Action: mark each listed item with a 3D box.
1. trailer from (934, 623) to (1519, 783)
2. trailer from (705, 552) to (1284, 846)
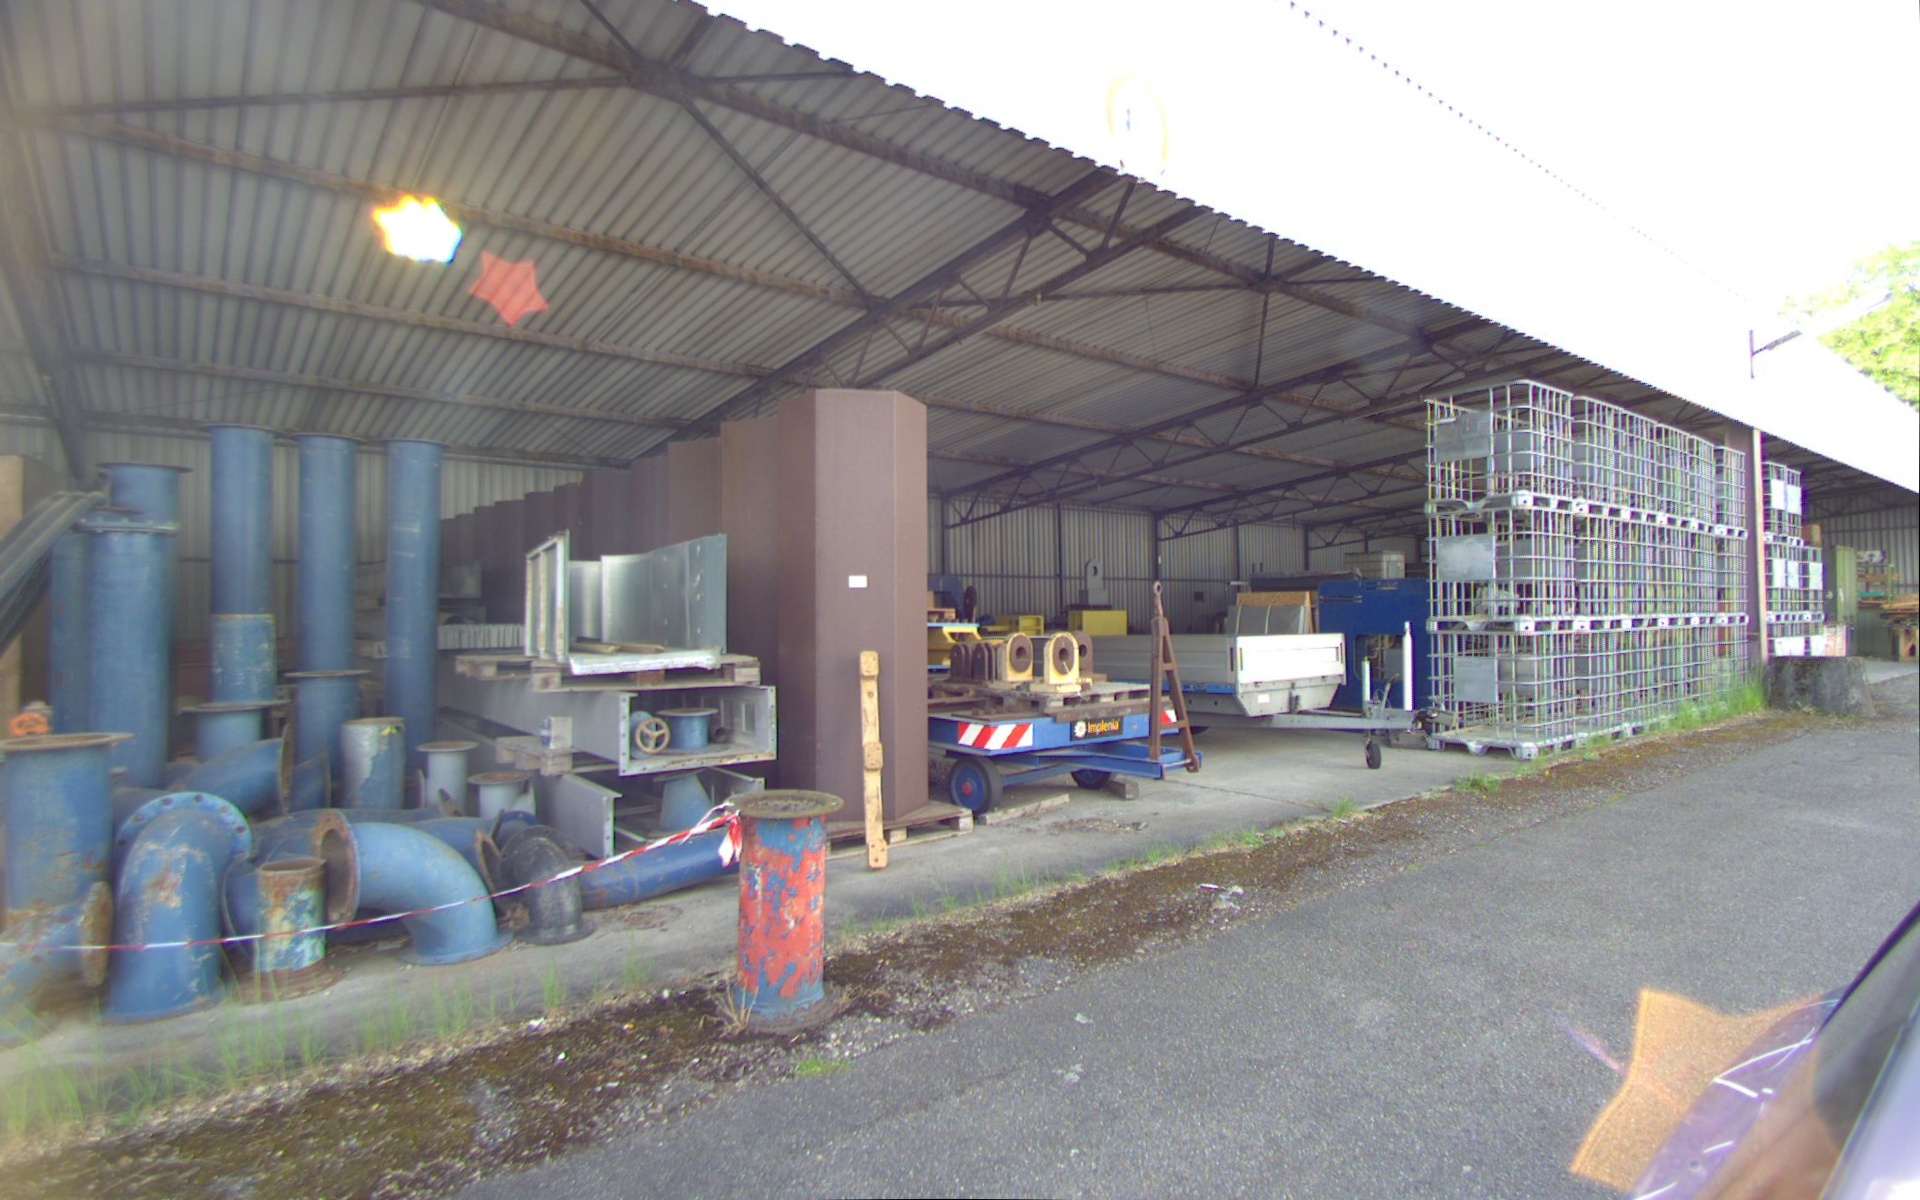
[{"bbox_3d":[2.293,0.837,10.507,1.993,1.134,5.834,0,-1,-39],"label":"trailer"},{"bbox_3d":[-0.084,0.571,8.215,1.993,1.649,4.877,0,-1,-39],"label":"trailer"}]
